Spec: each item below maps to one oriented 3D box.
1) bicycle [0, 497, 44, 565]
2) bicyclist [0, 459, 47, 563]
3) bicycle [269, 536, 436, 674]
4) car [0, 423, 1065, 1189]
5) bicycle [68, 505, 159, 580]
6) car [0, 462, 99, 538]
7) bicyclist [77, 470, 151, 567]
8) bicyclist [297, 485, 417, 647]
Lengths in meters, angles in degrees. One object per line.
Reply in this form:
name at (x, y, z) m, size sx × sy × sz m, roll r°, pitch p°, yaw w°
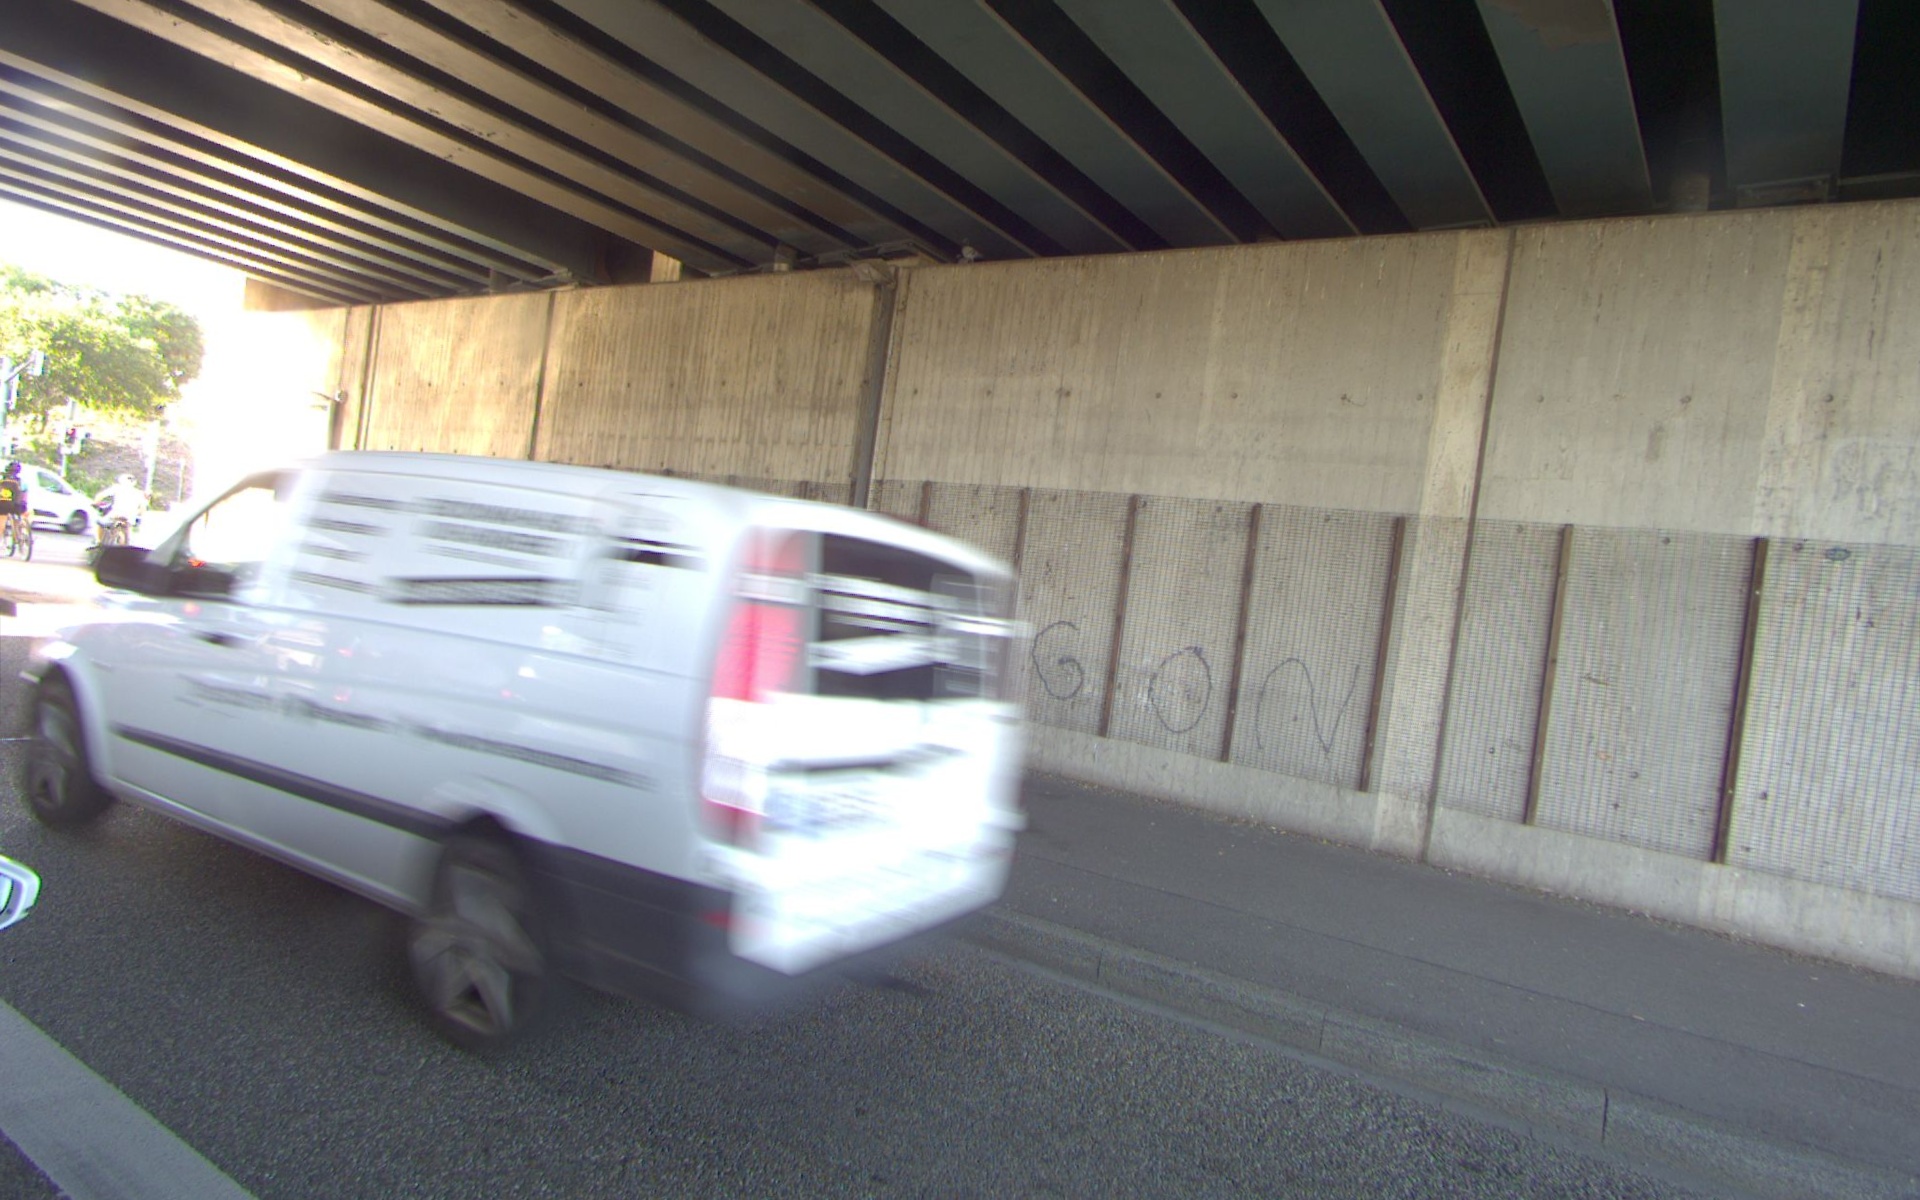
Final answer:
bicycle at (-16.134, -1.191, 17.059) m, size 1.508 × 1.036 × 0.676 m, roll 6°, pitch -2°, yaw 43°
bicyclist at (-16.081, -1.510, 17.050) m, size 0.635 × 1.647 × 0.676 m, roll 6°, pitch -2°, yaw 42°
bicycle at (-6.303, 0.030, 10.410) m, size 1.748 × 1.183 × 0.651 m, roll 8°, pitch 3°, yaw 30°
car at (-2.182, 0.395, 4.545) m, size 4.753 × 1.857 × 1.902 m, roll 7°, pitch -1°, yaw 30°
bicycle at (-14.696, -1.004, 17.462) m, size 1.577 × 1.126 × 0.682 m, roll 6°, pitch 0°, yaw 32°
car at (-26.782, -2.919, 27.993) m, size 1.786 × 1.855 × 4.299 m, roll 8°, pitch 0°, yaw -1°
bicyclist at (-14.726, -1.414, 17.514) m, size 0.723 × 1.581 × 0.670 m, roll 7°, pitch 0°, yaw 32°
bicyclist at (-6.199, -0.341, 10.346) m, size 0.832 × 1.554 × 0.653 m, roll 7°, pitch 2°, yaw 30°
